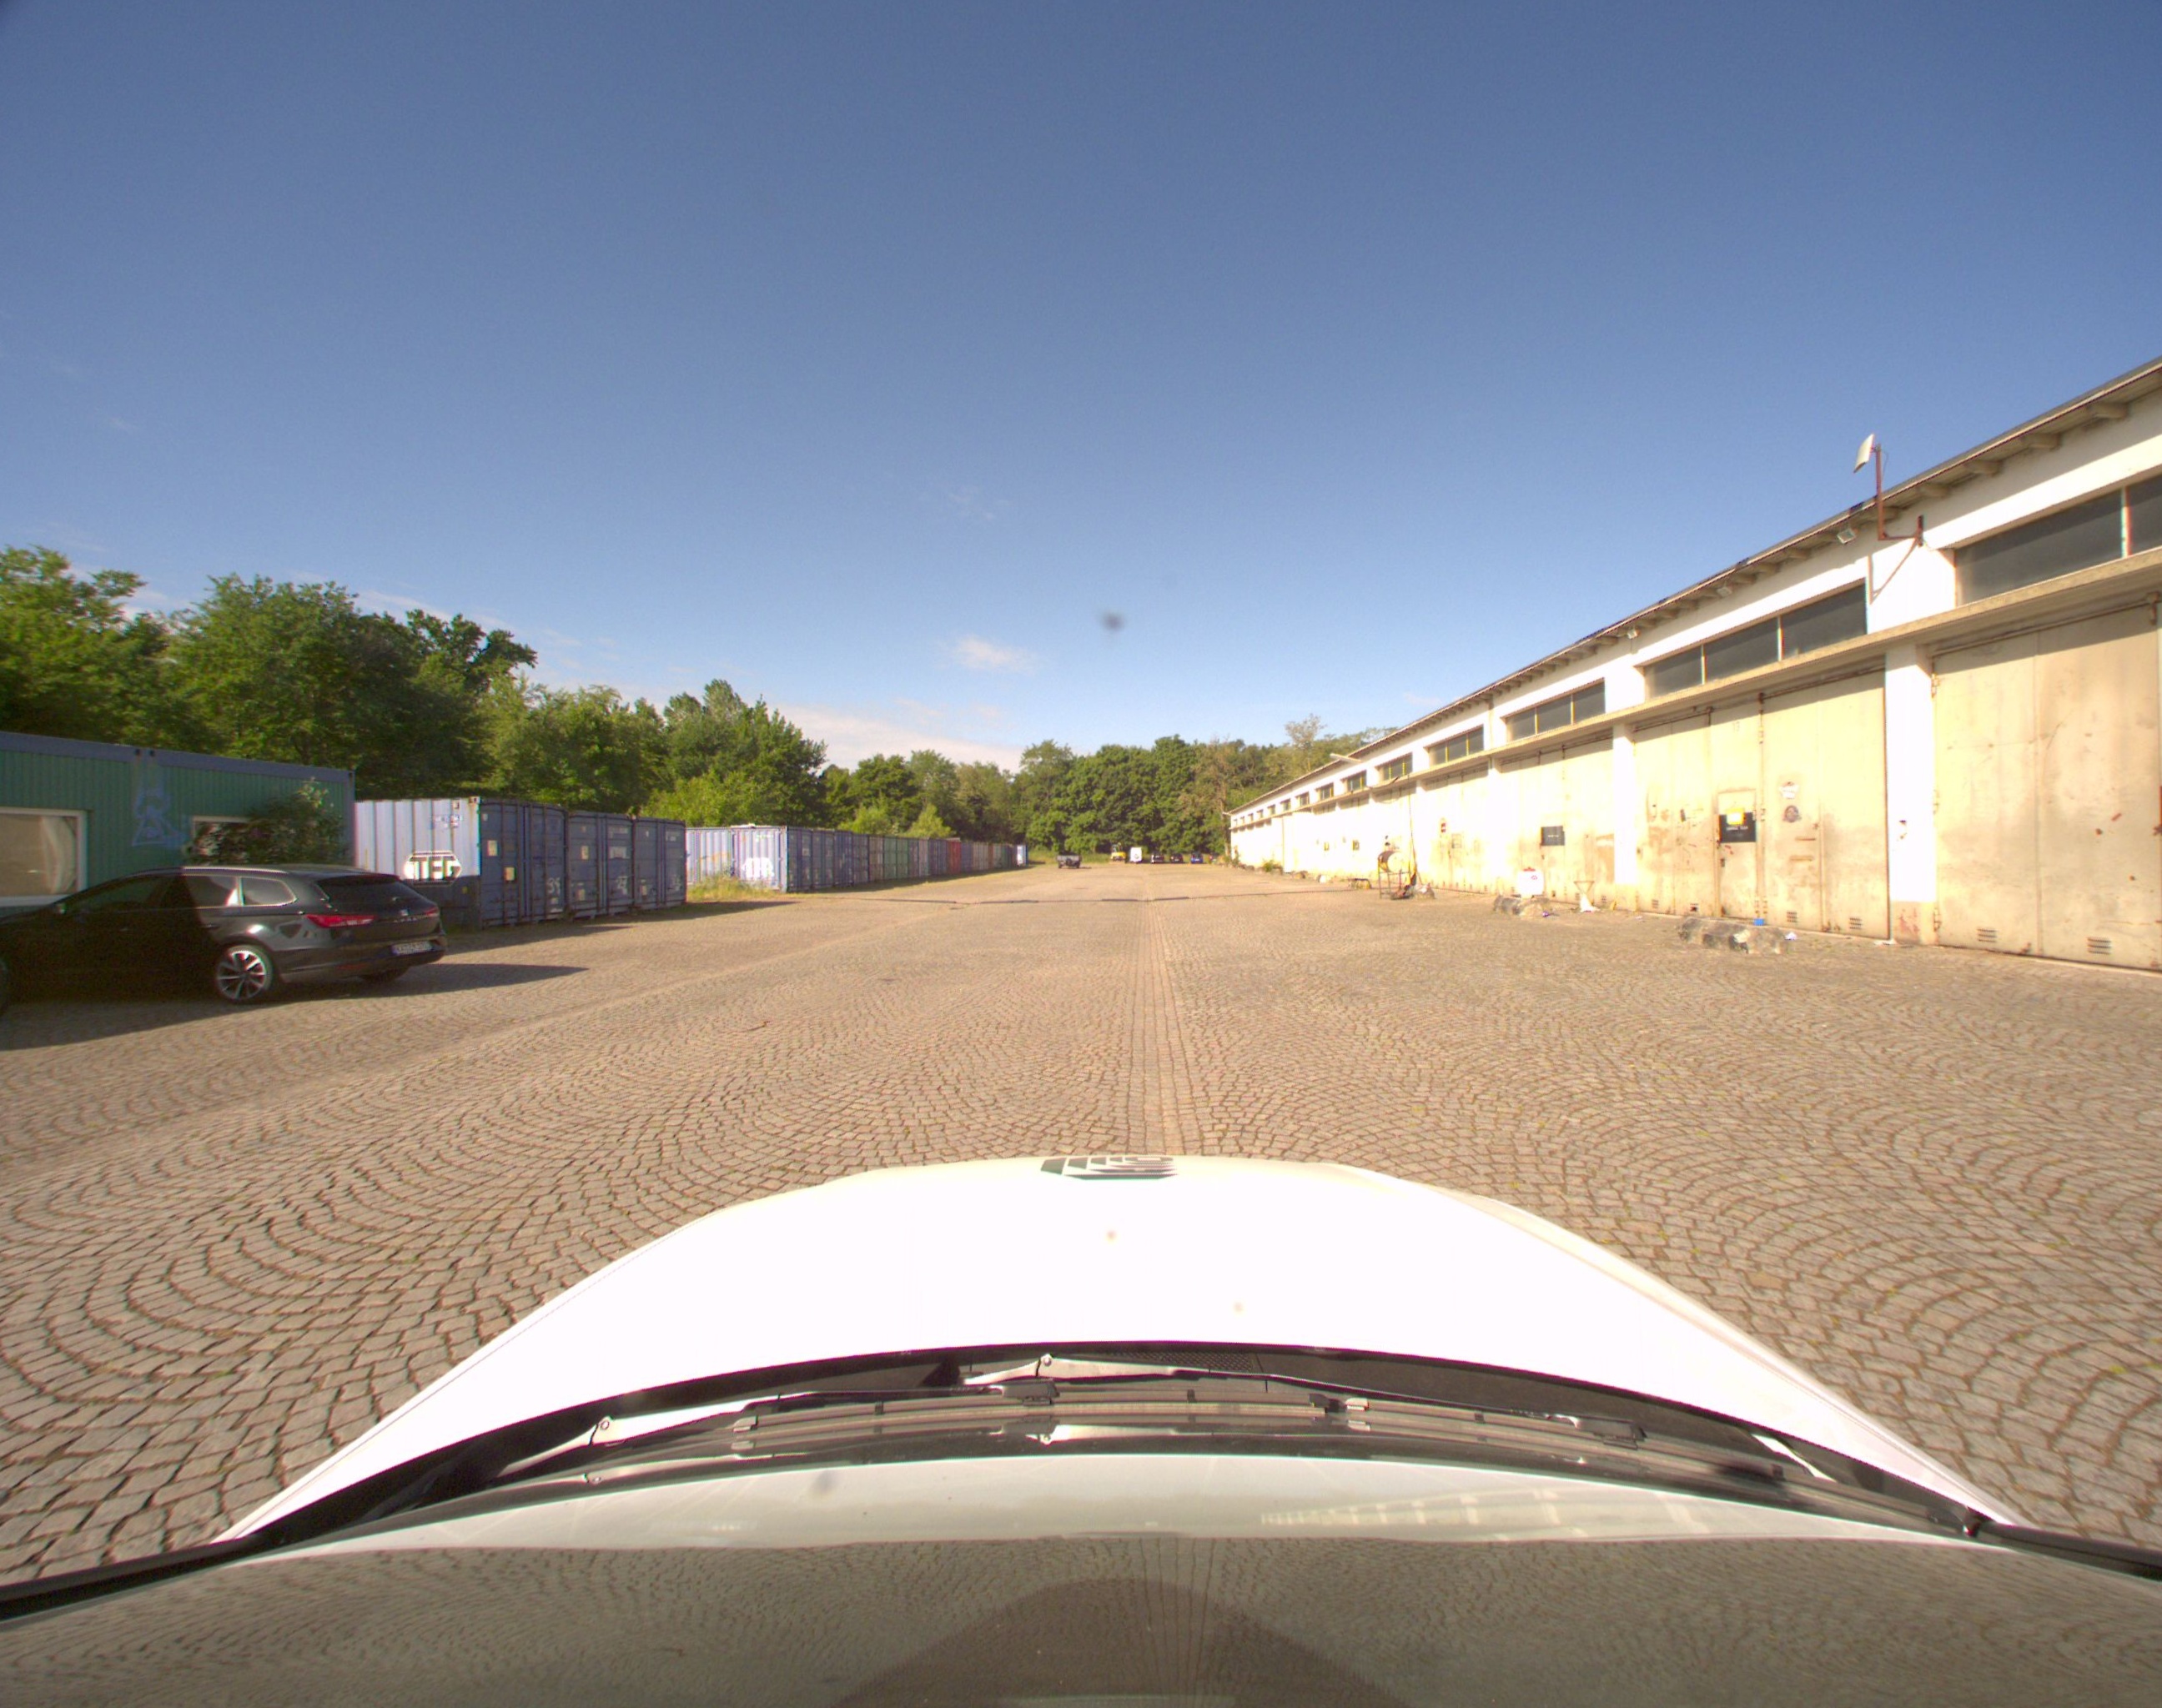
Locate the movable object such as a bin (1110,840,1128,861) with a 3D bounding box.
[{"bbox_3d":[5.089,-0.476,108.376,1.982,2.618,4.010,1,0,8],"label":"movable object such as a bin"}]

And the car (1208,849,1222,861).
[{"bbox_3d":[17.599,0.141,107.034,1.674,1.563,4.013,-1,0,11],"label":"car"}]

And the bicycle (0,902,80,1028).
[{"bbox_3d":[-10.698,1.030,7.694,1.700,1.101,0.674,1,0,3],"label":"bicycle"}]

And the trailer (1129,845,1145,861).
[{"bbox_3d":[7.457,-0.118,107.945,1.783,2.090,3.981,-1,0,8],"label":"trailer"}]

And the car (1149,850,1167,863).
[{"bbox_3d":[10.003,0.311,105.872,1.849,1.585,4.013,-1,0,11],"label":"car"}]

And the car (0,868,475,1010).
[{"bbox_3d":[-9.577,0.883,9.237,4.038,1.413,1.730,0,0,-2],"label":"car"}]

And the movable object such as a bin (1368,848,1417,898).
[{"bbox_3d":[8.583,0.513,22.490,0.821,1.331,1.280,-1,0,-1],"label":"movable object such as a bin"}]

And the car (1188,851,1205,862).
[{"bbox_3d":[15.043,0.285,105.821,1.981,1.420,4.013,-1,0,11],"label":"car"}]

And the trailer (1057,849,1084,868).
[{"bbox_3d":[-1.137,0.467,89.326,2.395,2.013,4.181,1,0,6],"label":"trailer"}]

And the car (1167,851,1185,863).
[{"bbox_3d":[12.417,0.327,105.941,1.981,1.462,4.013,-1,0,11],"label":"car"}]
